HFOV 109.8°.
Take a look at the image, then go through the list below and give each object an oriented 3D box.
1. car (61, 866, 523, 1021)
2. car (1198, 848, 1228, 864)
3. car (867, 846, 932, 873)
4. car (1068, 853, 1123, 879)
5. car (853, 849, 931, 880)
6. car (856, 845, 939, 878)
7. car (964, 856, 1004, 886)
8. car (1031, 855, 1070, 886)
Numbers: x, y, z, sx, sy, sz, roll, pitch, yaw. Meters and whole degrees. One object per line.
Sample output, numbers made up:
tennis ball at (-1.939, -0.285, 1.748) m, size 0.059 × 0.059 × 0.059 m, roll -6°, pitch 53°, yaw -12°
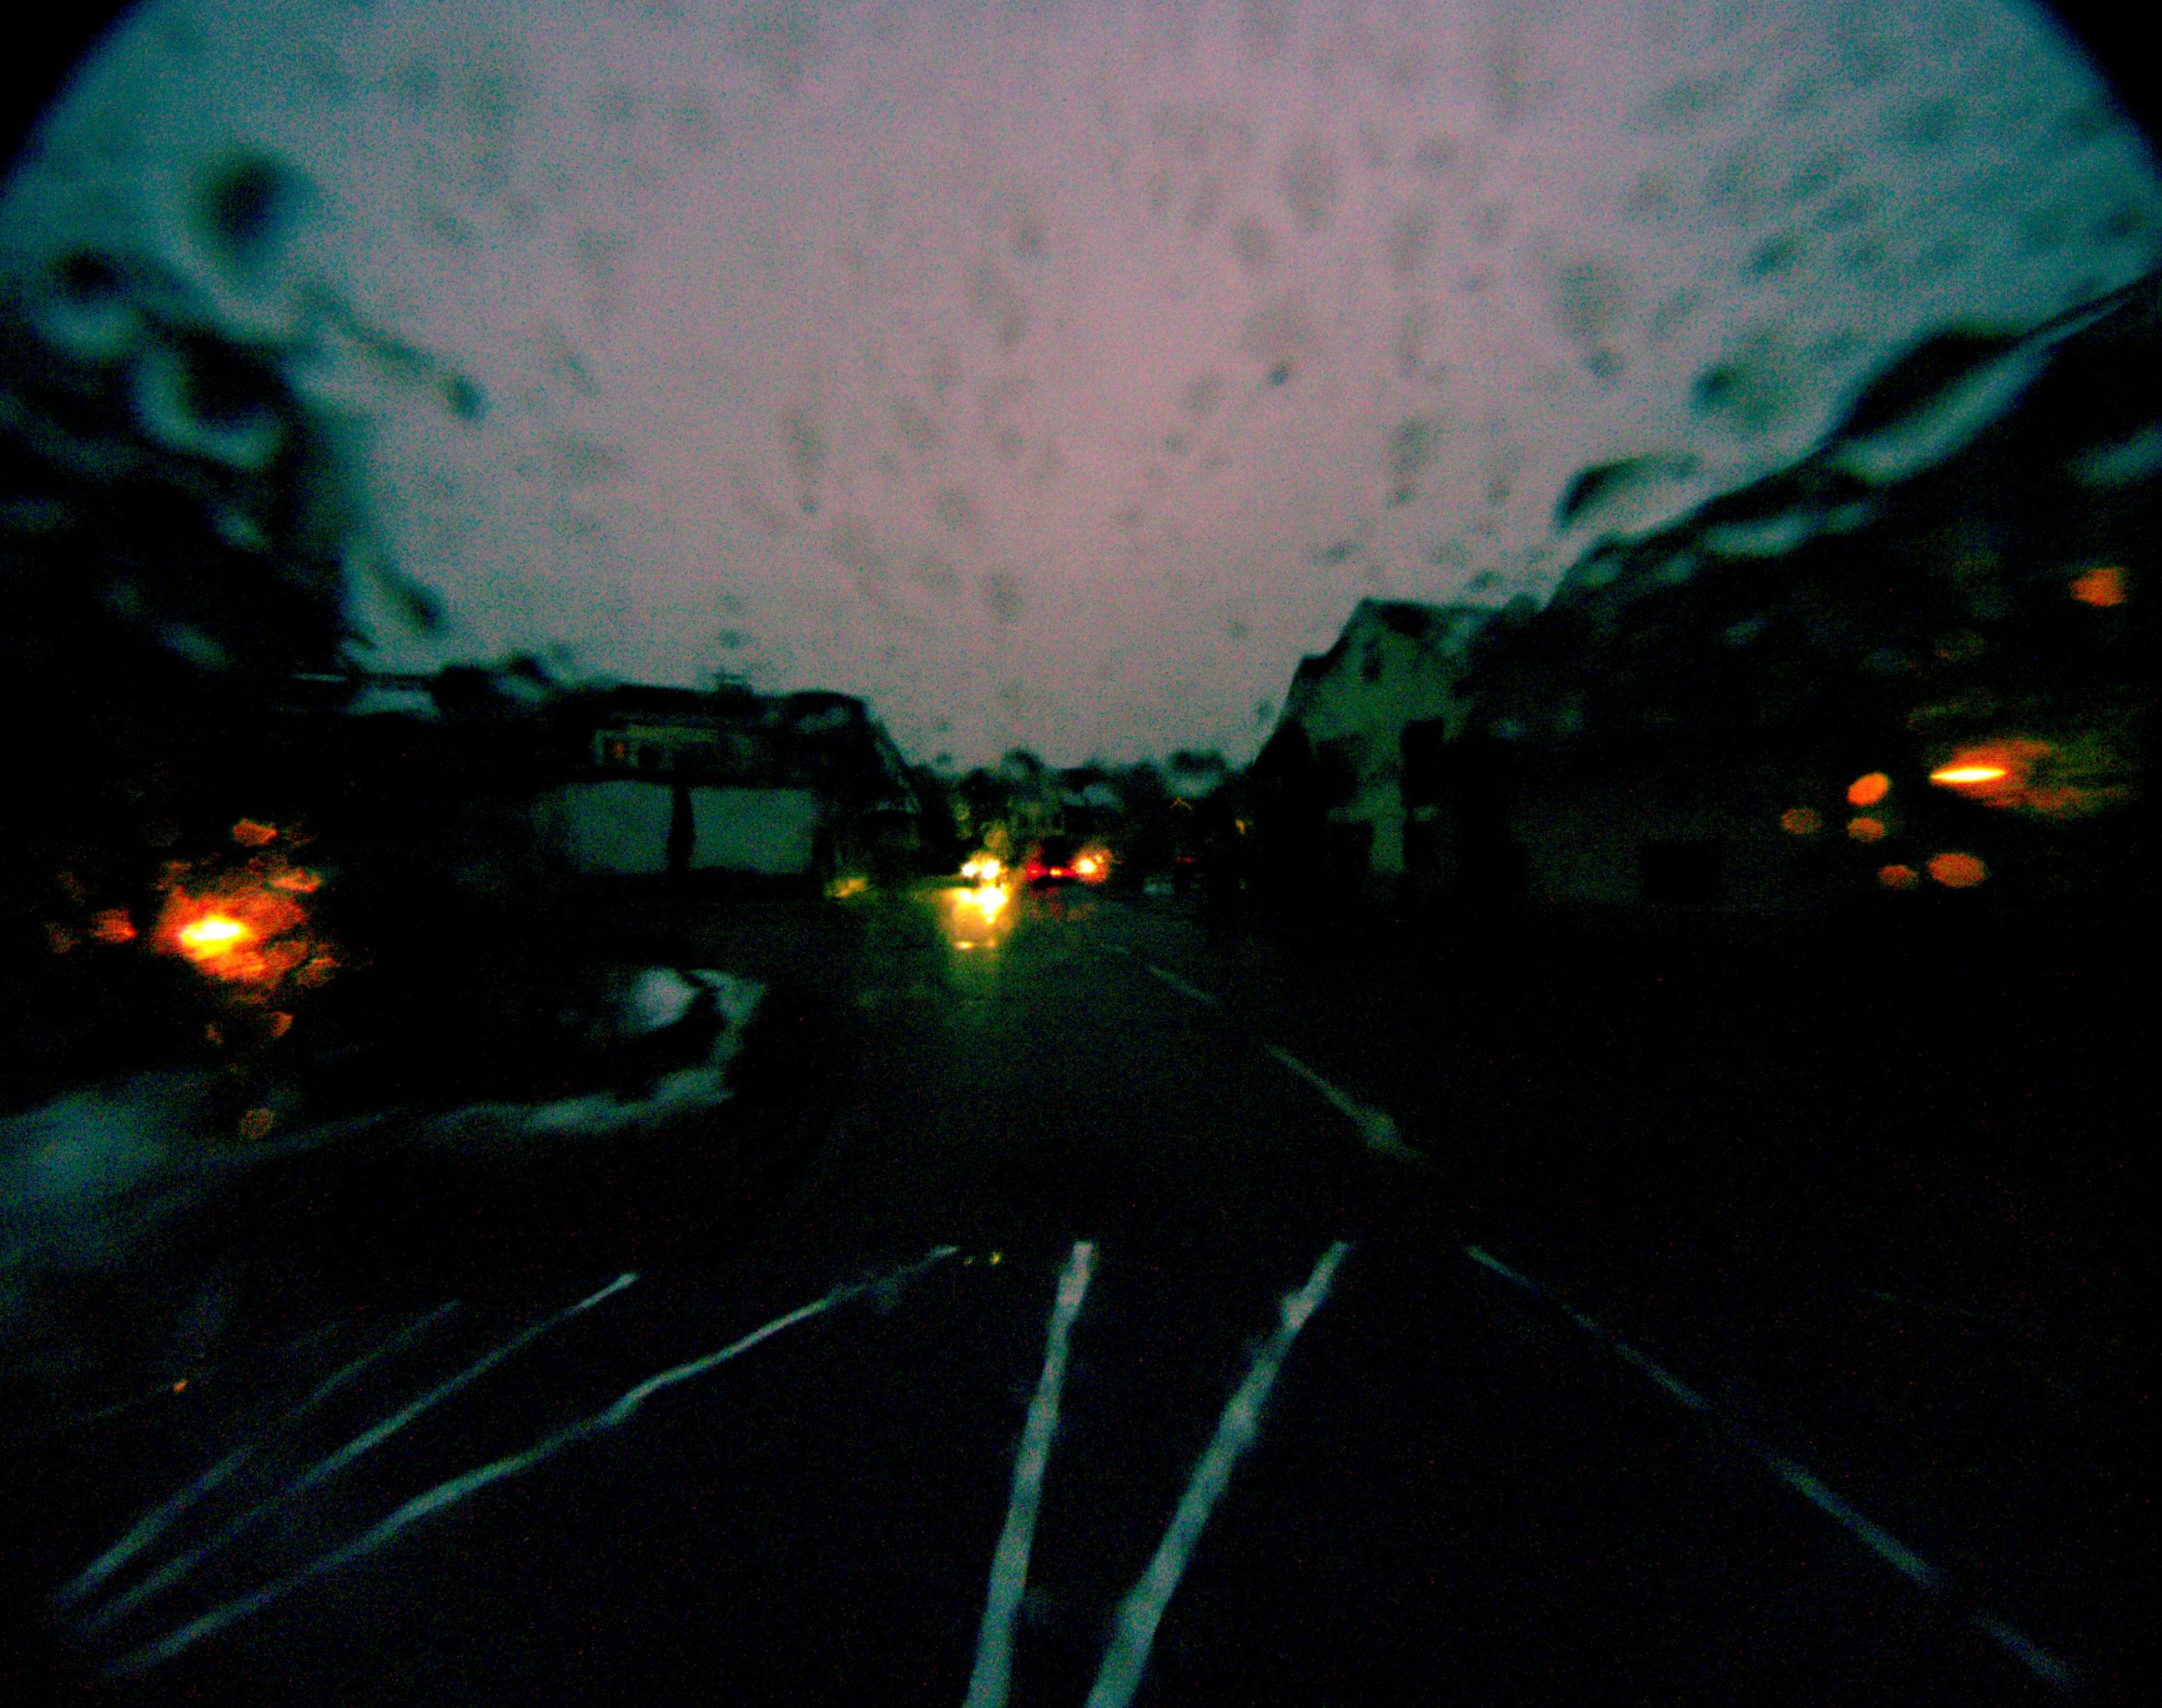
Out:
car at (-9.302, 0.912, 9.449) m, size 1.548 × 1.457 × 3.701 m, roll 0°, pitch 0°, yaw 11°
car at (13.994, 0.217, 80.874) m, size 1.651 × 1.498 × 3.483 m, roll 0°, pitch 4°, yaw -19°
car at (-12.532, 0.389, 52.636) m, size 3.993 × 1.507 × 1.592 m, roll 4°, pitch 1°, yaw -37°
car at (1.234, 0.957, 61.483) m, size 2.055 × 2.045 × 4.811 m, roll 1°, pitch 0°, yaw 36°
car at (-10.815, 0.622, 43.550) m, size 3.901 × 1.442 × 1.883 m, roll 4°, pitch 1°, yaw -30°
car at (-11.189, 0.460, 46.386) m, size 4.485 × 1.651 × 1.850 m, roll 4°, pitch 1°, yaw -31°
car at (-5.504, 0.942, 43.544) m, size 1.999 × 1.569 × 4.156 m, roll 0°, pitch 0°, yaw -3°
car at (-1.687, 0.921, 43.415) m, size 1.917 × 1.643 × 4.000 m, roll -1°, pitch 0°, yaw 2°
